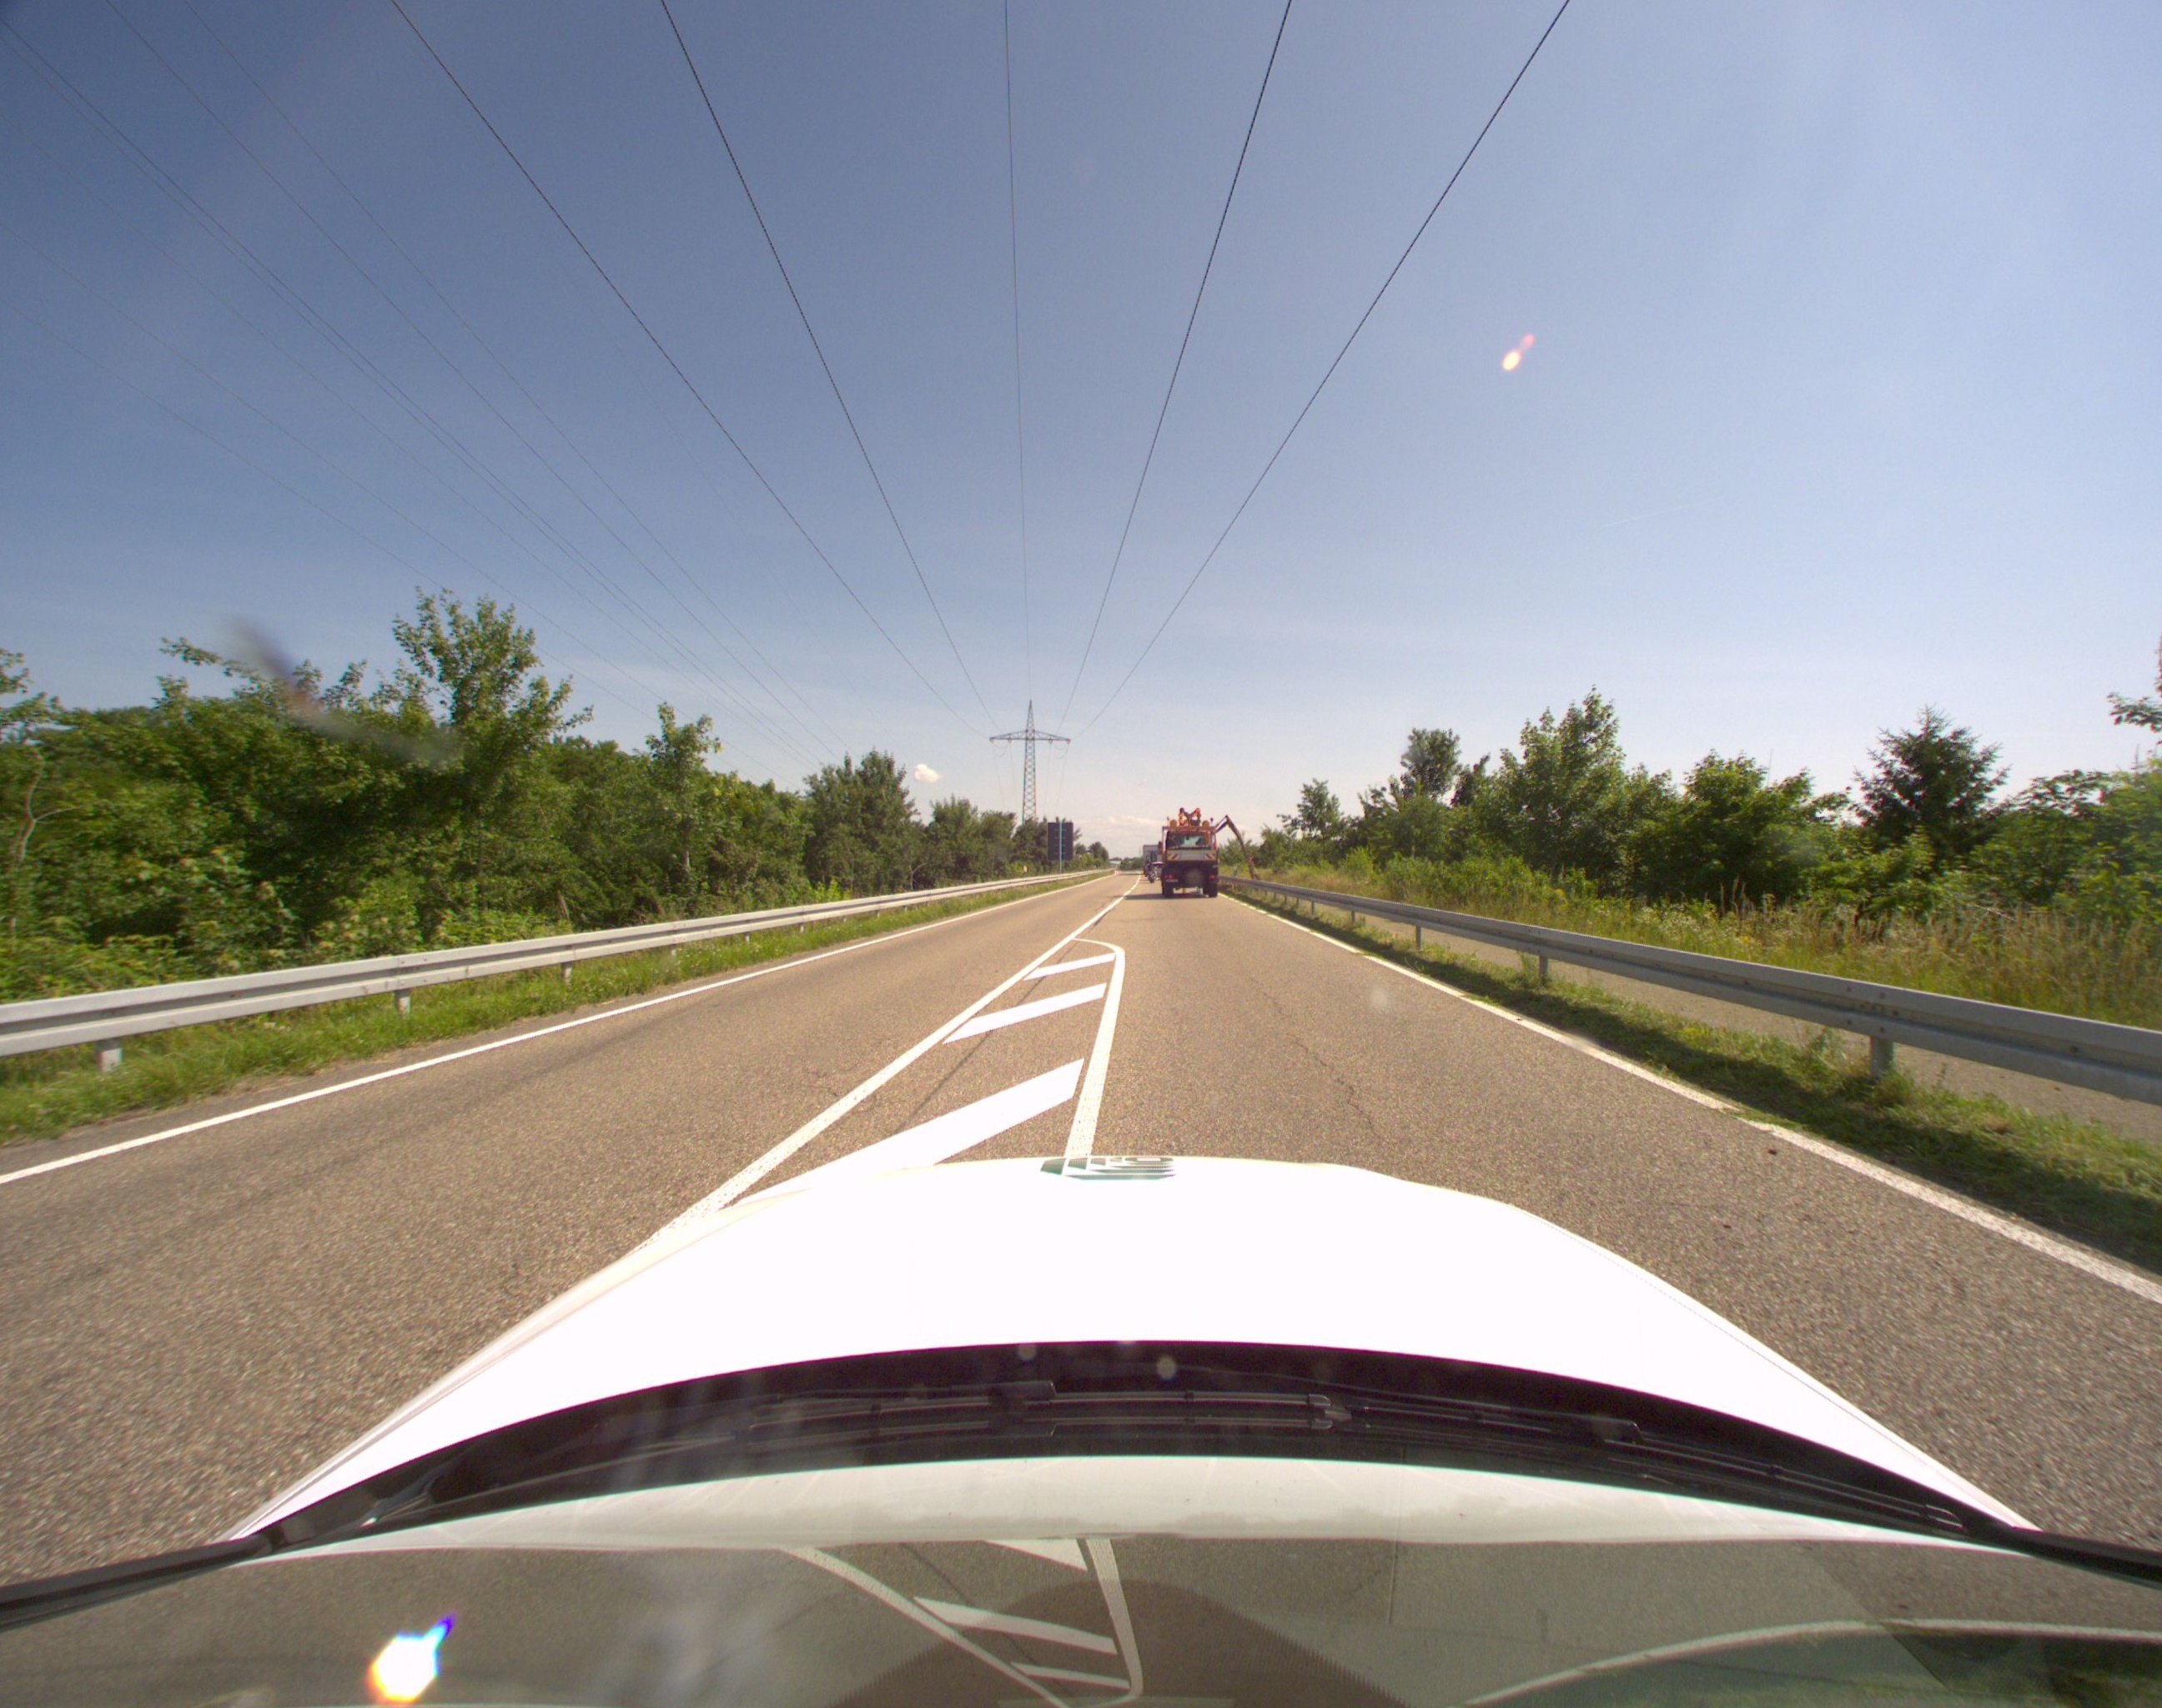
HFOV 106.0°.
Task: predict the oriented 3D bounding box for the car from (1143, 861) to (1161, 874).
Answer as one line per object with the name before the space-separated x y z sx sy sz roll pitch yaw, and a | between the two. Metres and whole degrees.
car | 7.969 1.533 91.450 1.857 1.420 4.005 0 0 5

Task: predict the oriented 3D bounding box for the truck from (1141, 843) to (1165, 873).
truck | 10.140 0.593 114.810 3.226 3.979 9.457 -1 -1 5

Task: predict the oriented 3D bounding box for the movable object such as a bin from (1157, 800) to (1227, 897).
movable object such as a bin | 4.888 -0.204 37.288 2.740 3.839 9.459 -1 0 6

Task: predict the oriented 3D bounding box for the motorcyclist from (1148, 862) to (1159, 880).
motorcyclist | 5.406 1.237 60.802 0.776 1.325 0.814 -1 -1 5

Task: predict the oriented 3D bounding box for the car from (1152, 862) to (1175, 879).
car | 7.277 1.445 71.559 1.814 1.451 4.010 -1 0 9

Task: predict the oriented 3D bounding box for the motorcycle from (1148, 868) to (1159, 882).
motorcycle | 5.396 1.543 60.779 0.776 0.975 2.365 -1 0 5
